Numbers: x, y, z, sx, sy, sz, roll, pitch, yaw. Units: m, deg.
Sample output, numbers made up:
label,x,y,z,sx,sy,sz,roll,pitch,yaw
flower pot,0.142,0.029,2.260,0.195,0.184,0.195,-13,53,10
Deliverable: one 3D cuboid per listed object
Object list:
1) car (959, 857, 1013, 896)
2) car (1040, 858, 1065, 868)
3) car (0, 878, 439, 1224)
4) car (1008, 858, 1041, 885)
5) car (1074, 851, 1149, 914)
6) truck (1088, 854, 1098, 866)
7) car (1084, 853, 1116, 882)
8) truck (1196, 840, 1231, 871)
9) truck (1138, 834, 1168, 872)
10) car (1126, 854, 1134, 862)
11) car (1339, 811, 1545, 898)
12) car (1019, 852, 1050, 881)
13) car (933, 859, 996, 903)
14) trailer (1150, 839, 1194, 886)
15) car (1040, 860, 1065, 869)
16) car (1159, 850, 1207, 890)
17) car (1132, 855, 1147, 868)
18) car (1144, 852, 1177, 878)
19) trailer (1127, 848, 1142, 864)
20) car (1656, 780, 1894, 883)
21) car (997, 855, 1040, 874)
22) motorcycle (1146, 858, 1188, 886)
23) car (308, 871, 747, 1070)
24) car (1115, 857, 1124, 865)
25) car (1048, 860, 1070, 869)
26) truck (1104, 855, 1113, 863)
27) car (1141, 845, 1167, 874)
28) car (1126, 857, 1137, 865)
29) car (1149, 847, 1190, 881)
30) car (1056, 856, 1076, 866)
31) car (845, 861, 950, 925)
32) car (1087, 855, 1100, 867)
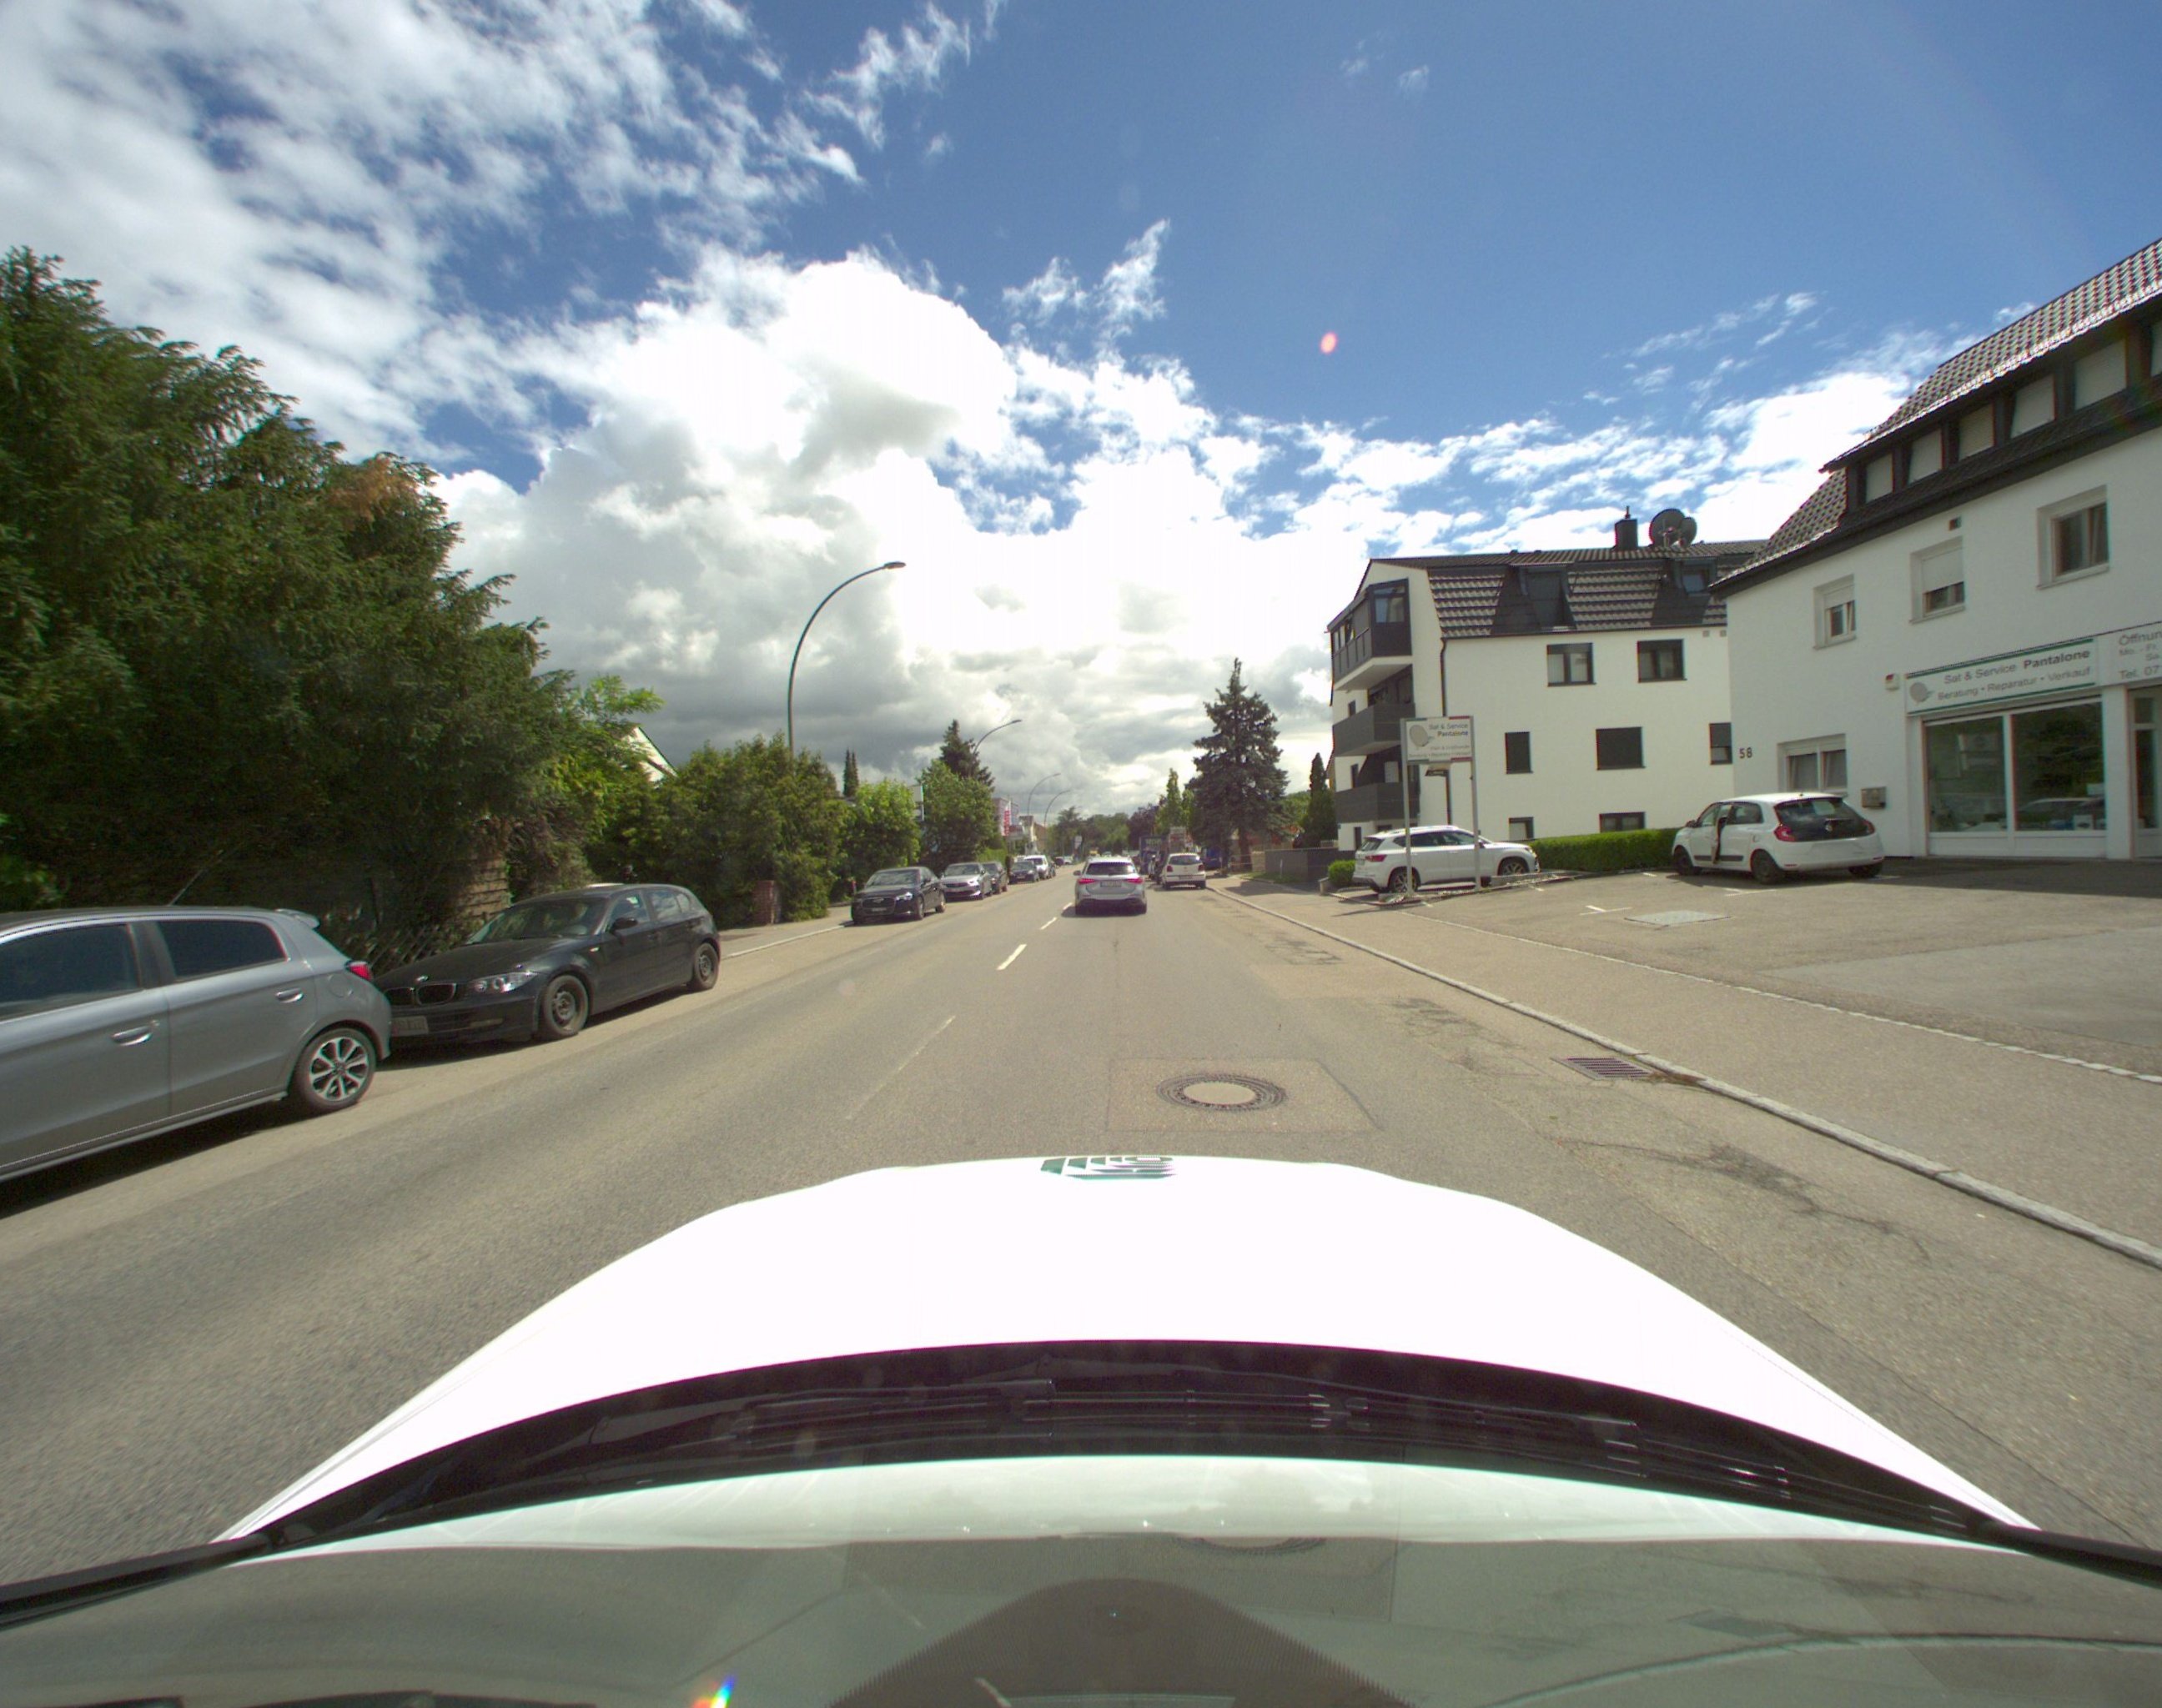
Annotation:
label,x,y,z,sx,sy,sz,roll,pitch,yaw
car,-4.193,0.975,36.720,1.713,1.493,4.736,-3,0,1
car,-5.529,1.762,158.786,4.613,1.632,2.197,-6,0,-1
car,-5.849,1.025,4.240,1.656,1.511,3.947,-5,0,2
car,-3.632,1.083,52.719,1.634,1.487,4.001,-6,0,1
car,0.765,0.693,21.818,1.778,1.484,4.317,-1,0,1
truck,3.203,1.572,215.334,2.066,2.814,7.085,-4,0,4
car,1.070,0.781,48.151,1.750,1.558,3.999,-2,0,0
truck,10.171,0.036,62.922,1.822,2.081,5.388,-6,1,2
truck,6.174,-0.092,70.322,2.311,3.097,6.047,-1,0,3
car,13.028,1.060,216.764,2.135,1.984,5.265,-3,0,3
car,8.862,0.012,20.278,4.176,1.654,1.868,-6,0,1
car,-3.305,0.892,58.490,1.737,1.838,4.357,-6,0,1
car,-4.470,0.987,31.830,1.713,1.432,4.200,-4,0,1
trailer,4.497,0.389,40.730,1.766,2.144,4.116,-3,0,2
car,-4.711,1.731,134.984,4.138,1.492,1.825,0,0,-1
car,4.217,0.611,34.114,1.711,1.432,3.989,-4,0,5
car,7.919,1.008,110.619,1.932,1.571,4.451,-3,0,5
car,5.072,0.698,52.363,1.766,1.508,4.002,-3,0,2
trailer,8.062,0.326,122.056,1.934,2.294,4.446,-3,0,1
car,12.581,-0.419,15.093,1.622,1.518,3.675,-6,1,10
car,-7.020,1.163,91.613,4.638,1.972,2.114,-3,0,-1
motorcycle,3.968,0.818,37.343,1.830,1.210,0.710,-3,0,-33
car,-5.552,1.024,9.021,1.656,1.435,4.341,-5,0,2
car,7.959,1.365,170.100,1.749,1.558,4.002,-2,0,2
car,-4.618,2.280,171.285,4.262,1.567,1.992,-3,-3,2
truck,8.556,1.487,254.008,2.308,2.178,6.457,-3,0,5
car,5.760,0.399,64.751,1.866,2.169,4.468,-1,0,3
car,9.736,1.302,157.842,1.786,1.450,4.363,-3,0,0
car,5.061,0.548,47.040,1.867,1.727,4.713,-3,0,1
car,-3.206,1.598,176.394,4.264,1.836,1.991,-3,-3,1
car,-4.911,0.999,22.434,1.656,1.414,4.341,-4,0,2
car,1.750,0.986,114.916,1.737,1.627,4.358,-2,0,2
